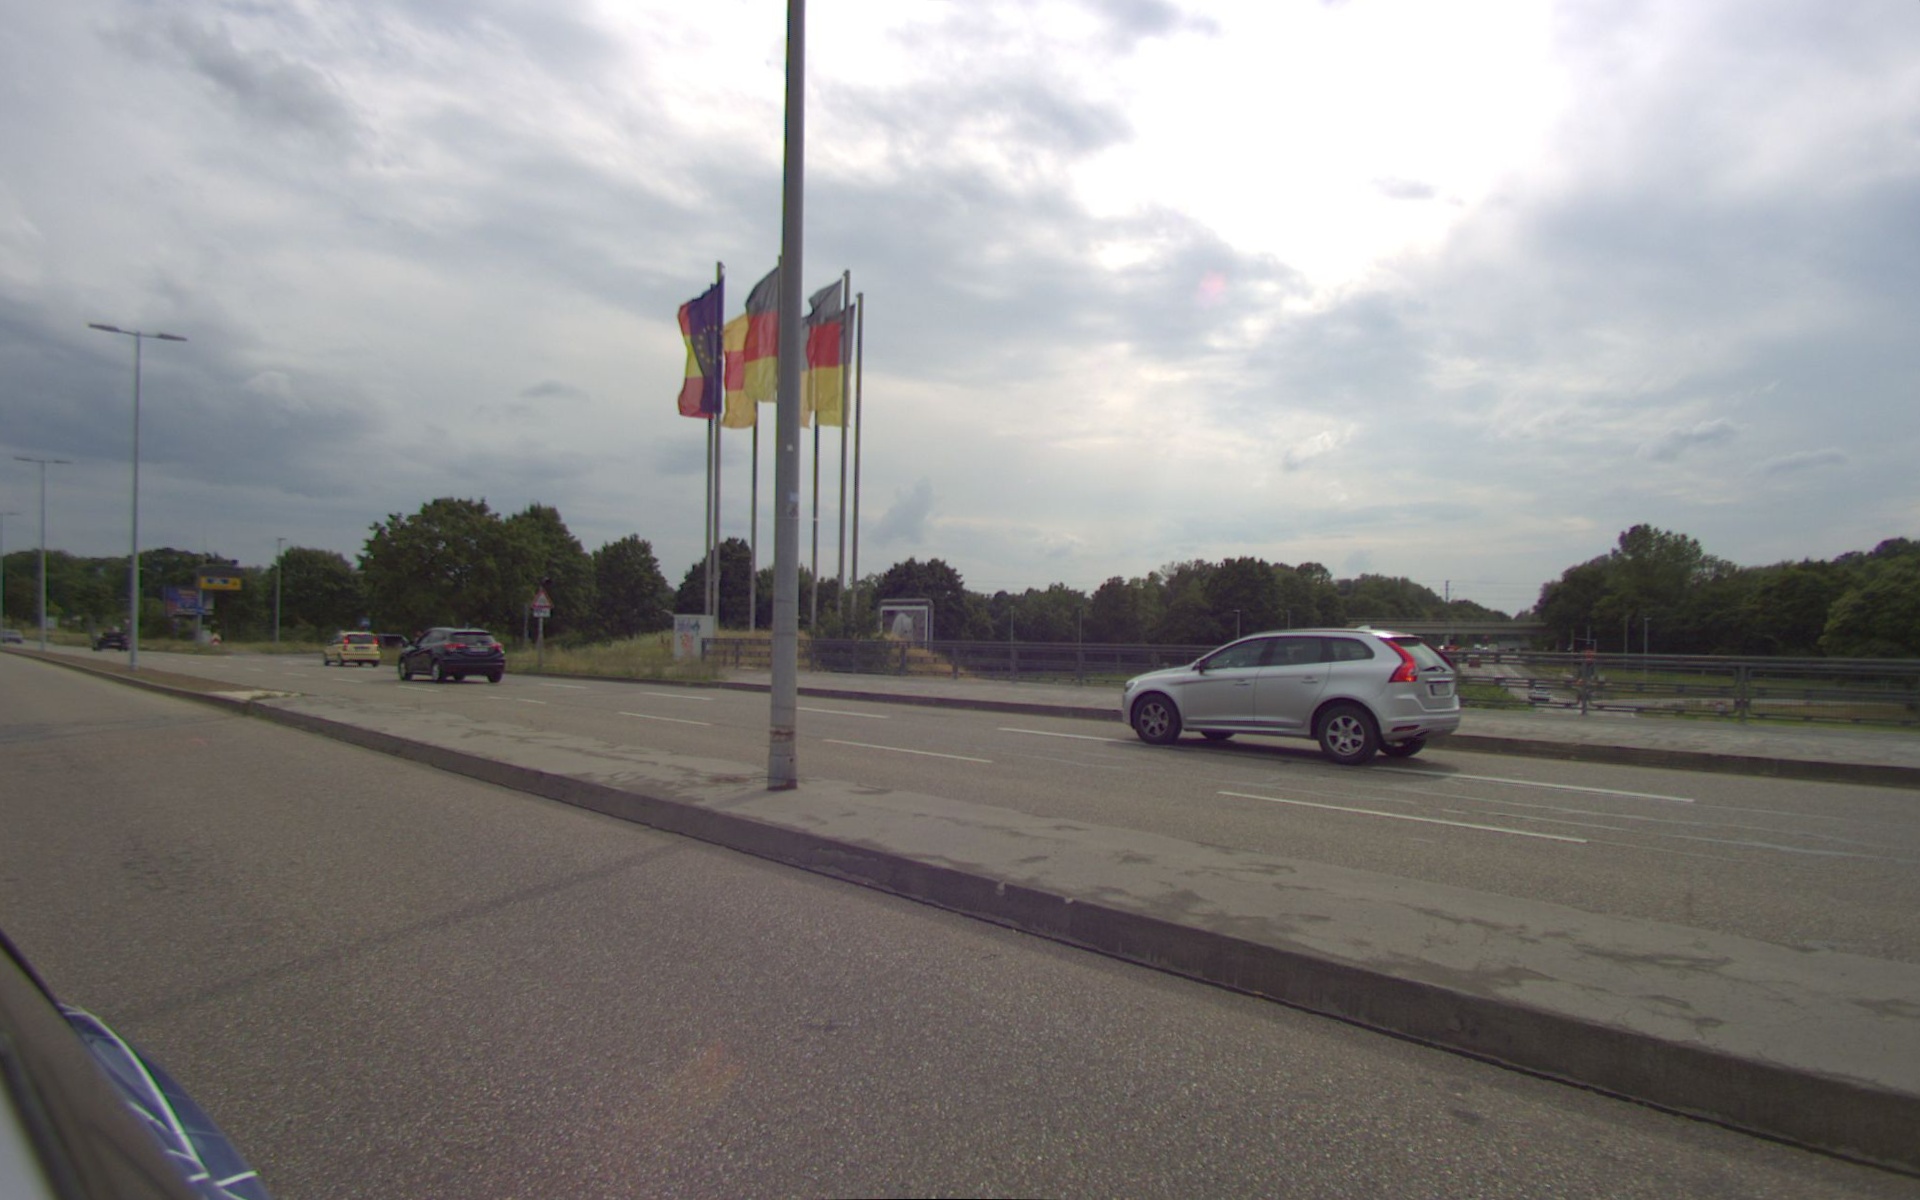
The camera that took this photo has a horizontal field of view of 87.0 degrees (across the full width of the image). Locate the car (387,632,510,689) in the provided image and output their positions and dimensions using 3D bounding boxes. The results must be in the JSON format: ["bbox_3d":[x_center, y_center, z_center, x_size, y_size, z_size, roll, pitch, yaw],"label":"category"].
[{"bbox_3d":[-14.943,1.723,29.470,4.314,1.527,1.721,-2,-4,42],"label":"car"}]

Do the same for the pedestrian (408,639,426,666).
[{"bbox_3d":[-35.301,3.418,65.800,0.853,1.706,0.681,2,-4,-20],"label":"pedestrian"}]

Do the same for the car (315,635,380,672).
[{"bbox_3d":[-27.670,2.428,45.687,3.691,1.590,1.531,-3,-5,44],"label":"car"}]

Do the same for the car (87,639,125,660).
[{"bbox_3d":[-64.028,3.721,75.854,4.178,1.452,1.743,-3,-5,44],"label":"car"}]

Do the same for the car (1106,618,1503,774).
[{"bbox_3d":[4.460,1.176,13.697,1.841,1.738,4.772,4,-4,-45],"label":"car"}]

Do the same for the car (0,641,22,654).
[{"bbox_3d":[-116.790,5.865,124.391,4.561,1.613,1.827,-3,-4,43],"label":"car"}]

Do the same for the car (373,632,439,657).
[{"bbox_3d":[-46.768,3.793,85.603,1.833,1.908,5.486,1,-4,10],"label":"car"}]

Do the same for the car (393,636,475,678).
[{"bbox_3d":[-20.180,2.175,38.768,4.018,1.527,1.630,-3,-5,45],"label":"car"}]
